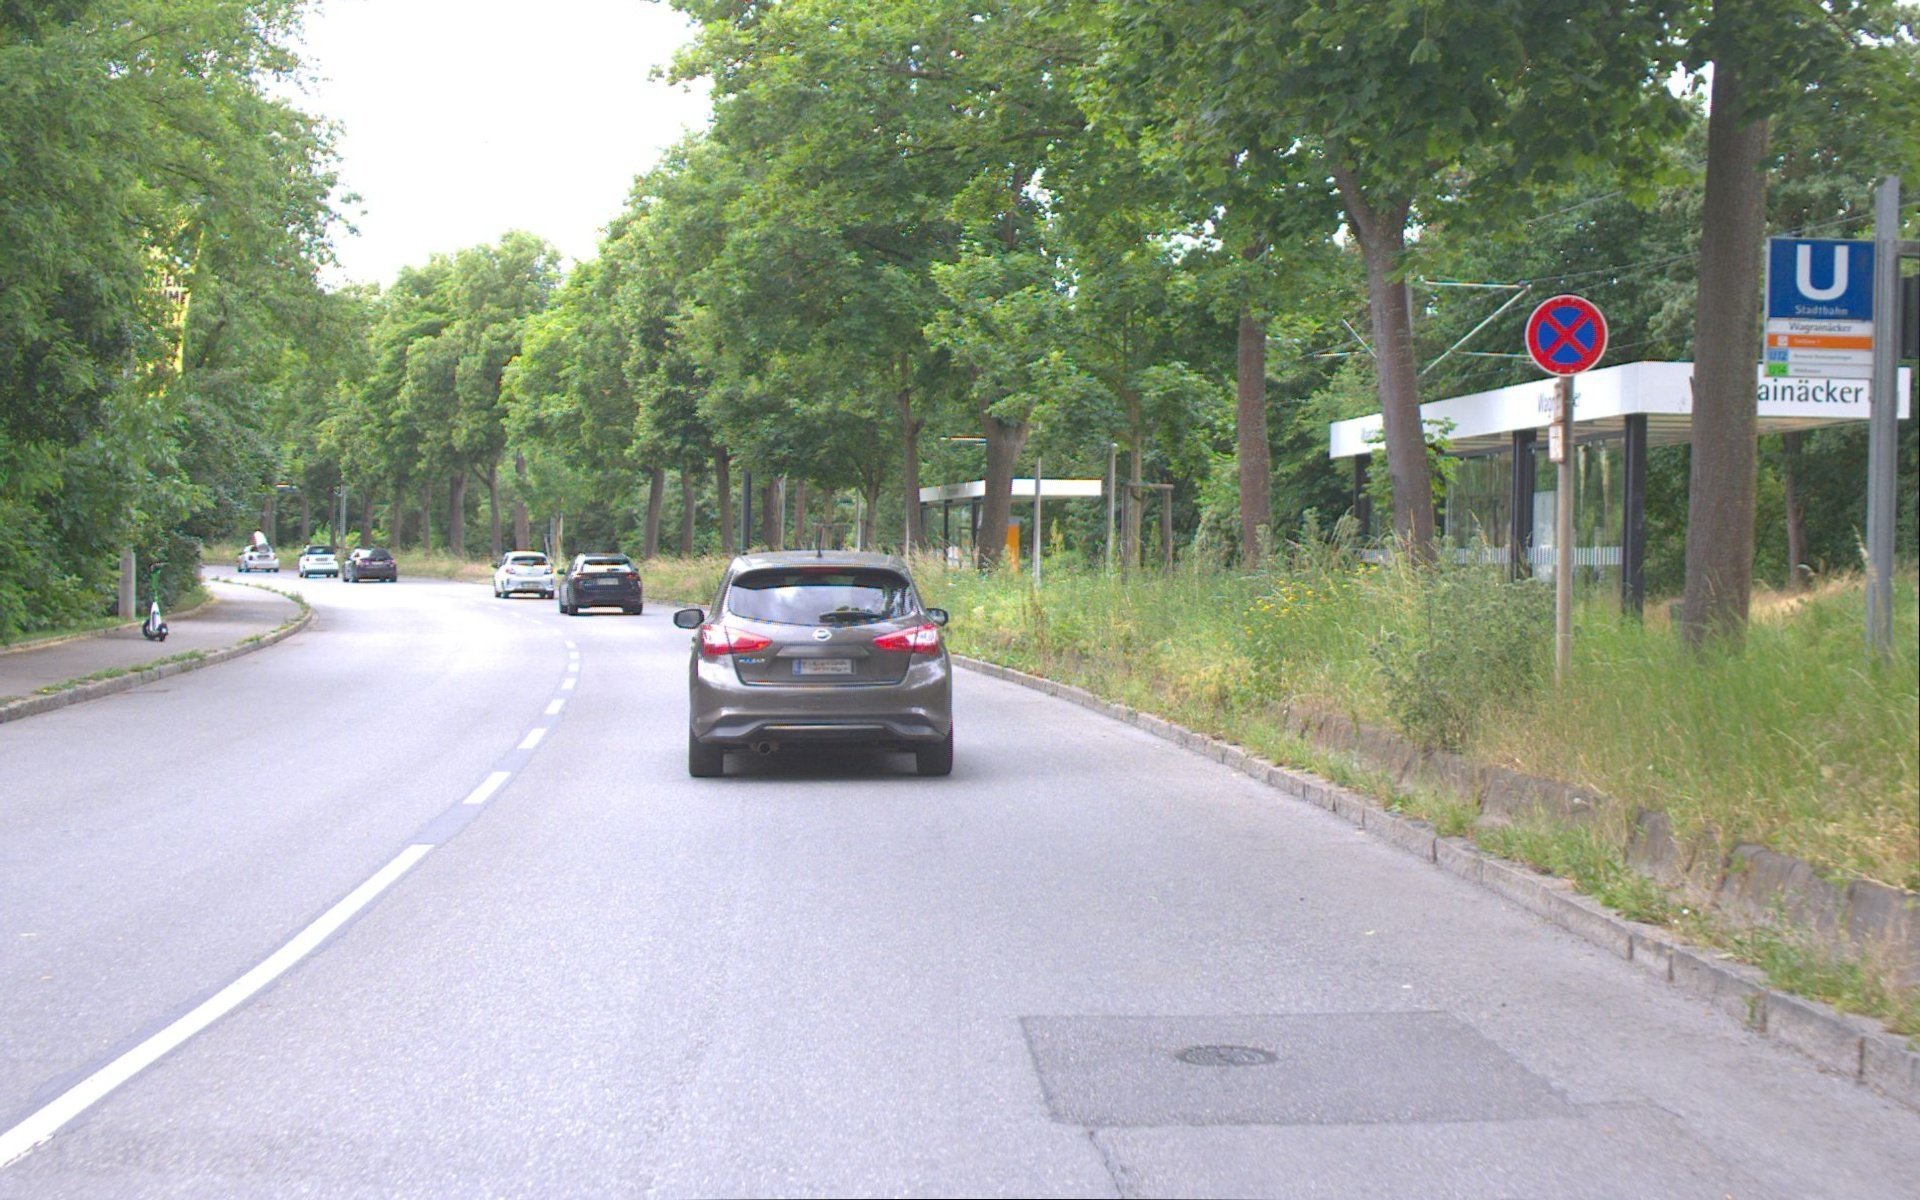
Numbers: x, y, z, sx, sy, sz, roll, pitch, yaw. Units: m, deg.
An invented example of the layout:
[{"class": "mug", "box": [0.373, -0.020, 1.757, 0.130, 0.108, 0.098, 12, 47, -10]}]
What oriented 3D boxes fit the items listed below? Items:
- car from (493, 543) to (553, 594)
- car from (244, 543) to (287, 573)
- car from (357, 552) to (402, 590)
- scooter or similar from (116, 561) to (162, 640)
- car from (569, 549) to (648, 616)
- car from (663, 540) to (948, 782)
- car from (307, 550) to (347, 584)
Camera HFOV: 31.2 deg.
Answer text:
[{"class": "car", "box": [-13.889, -1.019, 109.160, 1.775, 1.467, 4.001, 3, 1, -8]}, {"class": "car", "box": [-36.778, -2.237, 182.065, 1.775, 1.467, 4.001, 3, 1, -6]}, {"class": "car", "box": [-24.795, -1.245, 146.787, 1.775, 1.467, 4.001, 4, 0, -10]}, {"class": "scooter or similar", "box": [-12.773, 0.003, 53.473, 0.364, 1.180, 1.298, 2, 0, -27]}, {"class": "car", "box": [-8.433, -0.438, 82.661, 1.775, 1.467, 4.001, 3, 1, -5]}, {"class": "car", "box": [-1.167, 0.360, 24.220, 1.816, 1.503, 4.001, 0, 2, -5]}, {"class": "car", "box": [-29.897, -1.559, 162.249, 1.775, 1.467, 4.001, 1, 1, -11]}]
